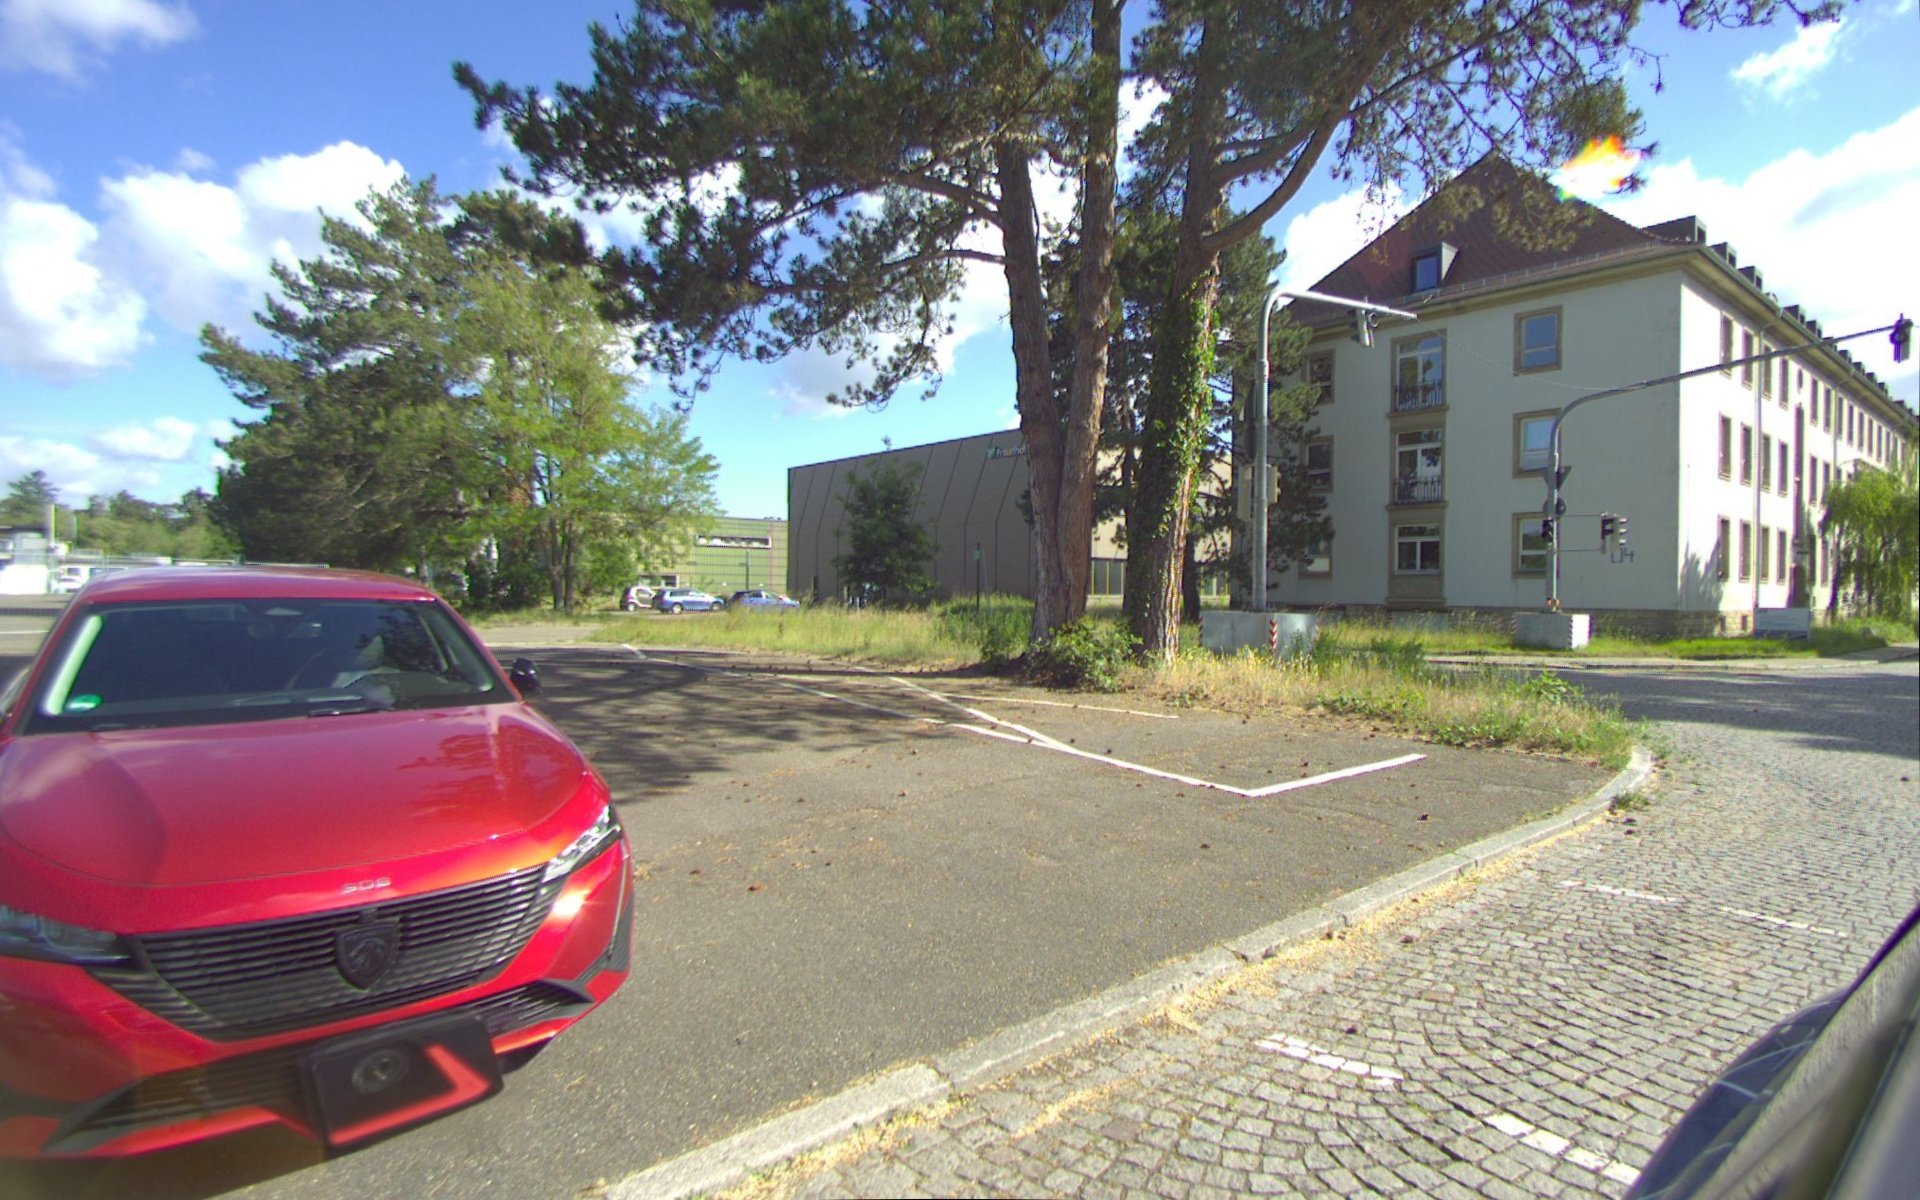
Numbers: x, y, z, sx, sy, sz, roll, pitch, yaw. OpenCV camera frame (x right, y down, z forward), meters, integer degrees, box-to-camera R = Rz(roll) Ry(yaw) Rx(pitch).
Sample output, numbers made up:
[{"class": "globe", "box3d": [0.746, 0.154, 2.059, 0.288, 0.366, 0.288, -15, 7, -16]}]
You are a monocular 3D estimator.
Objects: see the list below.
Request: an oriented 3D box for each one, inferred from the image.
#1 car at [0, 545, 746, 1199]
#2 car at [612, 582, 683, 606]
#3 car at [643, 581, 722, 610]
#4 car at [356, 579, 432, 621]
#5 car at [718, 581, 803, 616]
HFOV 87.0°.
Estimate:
[{"class": "car", "box3d": [-2.842, 0.550, 4.248, 1.861, 1.438, 4.547, 0, 4, -40]}, {"class": "car", "box3d": [-20.676, -0.373, 66.949, 4.151, 1.584, 1.779, 0, 0, -40]}, {"class": "car", "box3d": [-16.592, -0.256, 60.598, 4.151, 1.584, 1.858, 0, -2, -40]}, {"class": "car", "box3d": [-21.057, -0.009, 37.591, 1.714, 1.440, 3.995, 2, 0, -40]}, {"class": "car", "box3d": [-10.490, -0.127, 53.378, 3.988, 1.583, 1.860, -4, 3, -38]}]
